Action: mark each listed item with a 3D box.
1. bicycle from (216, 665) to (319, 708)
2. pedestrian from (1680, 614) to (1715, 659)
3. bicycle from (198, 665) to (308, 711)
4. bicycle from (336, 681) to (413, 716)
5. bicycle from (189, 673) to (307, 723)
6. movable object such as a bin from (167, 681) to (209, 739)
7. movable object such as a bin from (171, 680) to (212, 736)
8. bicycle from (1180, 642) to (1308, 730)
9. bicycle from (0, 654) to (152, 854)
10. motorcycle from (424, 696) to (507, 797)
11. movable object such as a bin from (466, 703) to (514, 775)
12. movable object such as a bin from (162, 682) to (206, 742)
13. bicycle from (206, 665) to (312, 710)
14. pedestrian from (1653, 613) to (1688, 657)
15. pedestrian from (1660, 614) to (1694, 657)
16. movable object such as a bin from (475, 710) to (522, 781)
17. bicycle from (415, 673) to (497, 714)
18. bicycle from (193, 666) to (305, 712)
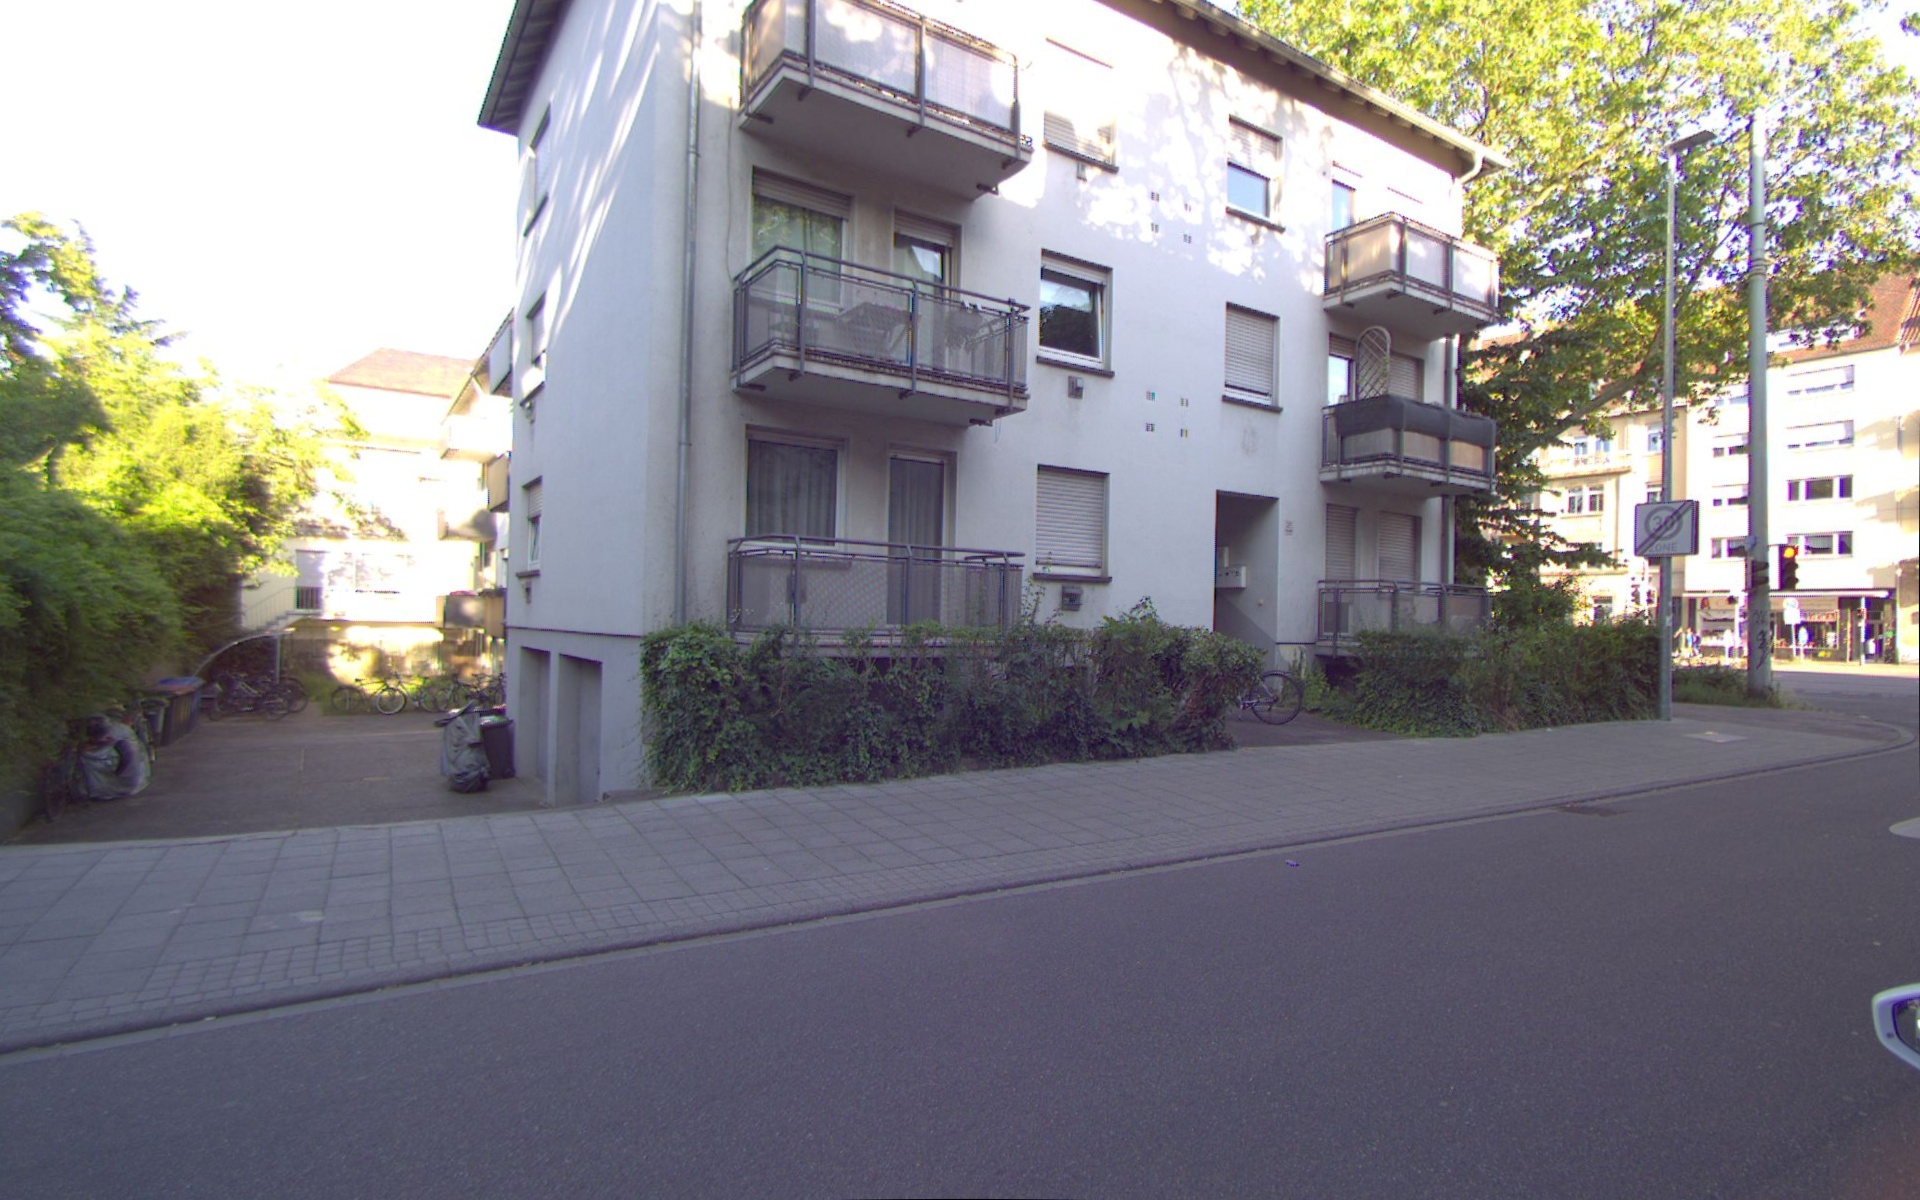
[{"bbox_3d":[-19.639,2.442,28.545,2.311,1.192,0.689,2,-4,-30],"label":"bicycle"},{"bbox_3d":[42.128,2.057,57.397,1.049,2.497,1.338,1,0,-34],"label":"pedestrian"},{"bbox_3d":[-19.023,2.342,27.095,2.311,1.192,0.689,2,-4,-30],"label":"bicycle"},{"bbox_3d":[-15.563,2.617,26.749,1.734,0.890,0.561,2,-4,-30],"label":"bicycle"},{"bbox_3d":[-17.333,2.374,24.530,2.268,1.148,0.689,2,-4,-30],"label":"bicycle"},{"bbox_3d":[-15.927,2.250,20.728,0.606,1.129,0.795,1,-3,-33],"label":"movable object such as a bin"},{"bbox_3d":[-16.359,2.280,21.390,0.606,1.129,0.795,1,-3,-33],"label":"movable object such as a bin"},{"bbox_3d":[3.832,1.145,13.574,1.590,1.022,0.517,3,1,20],"label":"bicycle"},{"bbox_3d":[-10.598,1.650,11.983,0.961,1.917,4.156,1,-2,-32],"label":"bicycle"},{"bbox_3d":[-7.401,2.145,15.011,0.739,1.313,1.563,2,-2,-41],"label":"motorcycle"},{"bbox_3d":[-7.913,2.321,16.906,0.606,1.129,0.795,1,-3,-33],"label":"movable object such as a bin"},{"bbox_3d":[-15.486,2.218,20.058,0.606,1.129,0.795,1,-3,-33],"label":"movable object such as a bin"},{"bbox_3d":[-19.369,2.406,27.819,2.311,1.192,0.689,2,-4,-30],"label":"bicycle"},{"bbox_3d":[40.773,2.002,57.634,1.049,2.497,1.338,1,0,-34],"label":"pedestrian"},{"bbox_3d":[42.050,2.061,58.919,1.049,2.497,1.338,1,0,-34],"label":"pedestrian"},{"bbox_3d":[-7.398,2.320,16.094,0.606,1.051,0.534,1,-3,-34],"label":"movable object such as a bin"},{"bbox_3d":[-13.909,2.565,27.749,1.982,1.085,0.561,2,-4,-30],"label":"bicycle"},{"bbox_3d":[-18.597,2.316,26.349,2.311,1.148,0.689,2,-4,-30],"label":"bicycle"}]
